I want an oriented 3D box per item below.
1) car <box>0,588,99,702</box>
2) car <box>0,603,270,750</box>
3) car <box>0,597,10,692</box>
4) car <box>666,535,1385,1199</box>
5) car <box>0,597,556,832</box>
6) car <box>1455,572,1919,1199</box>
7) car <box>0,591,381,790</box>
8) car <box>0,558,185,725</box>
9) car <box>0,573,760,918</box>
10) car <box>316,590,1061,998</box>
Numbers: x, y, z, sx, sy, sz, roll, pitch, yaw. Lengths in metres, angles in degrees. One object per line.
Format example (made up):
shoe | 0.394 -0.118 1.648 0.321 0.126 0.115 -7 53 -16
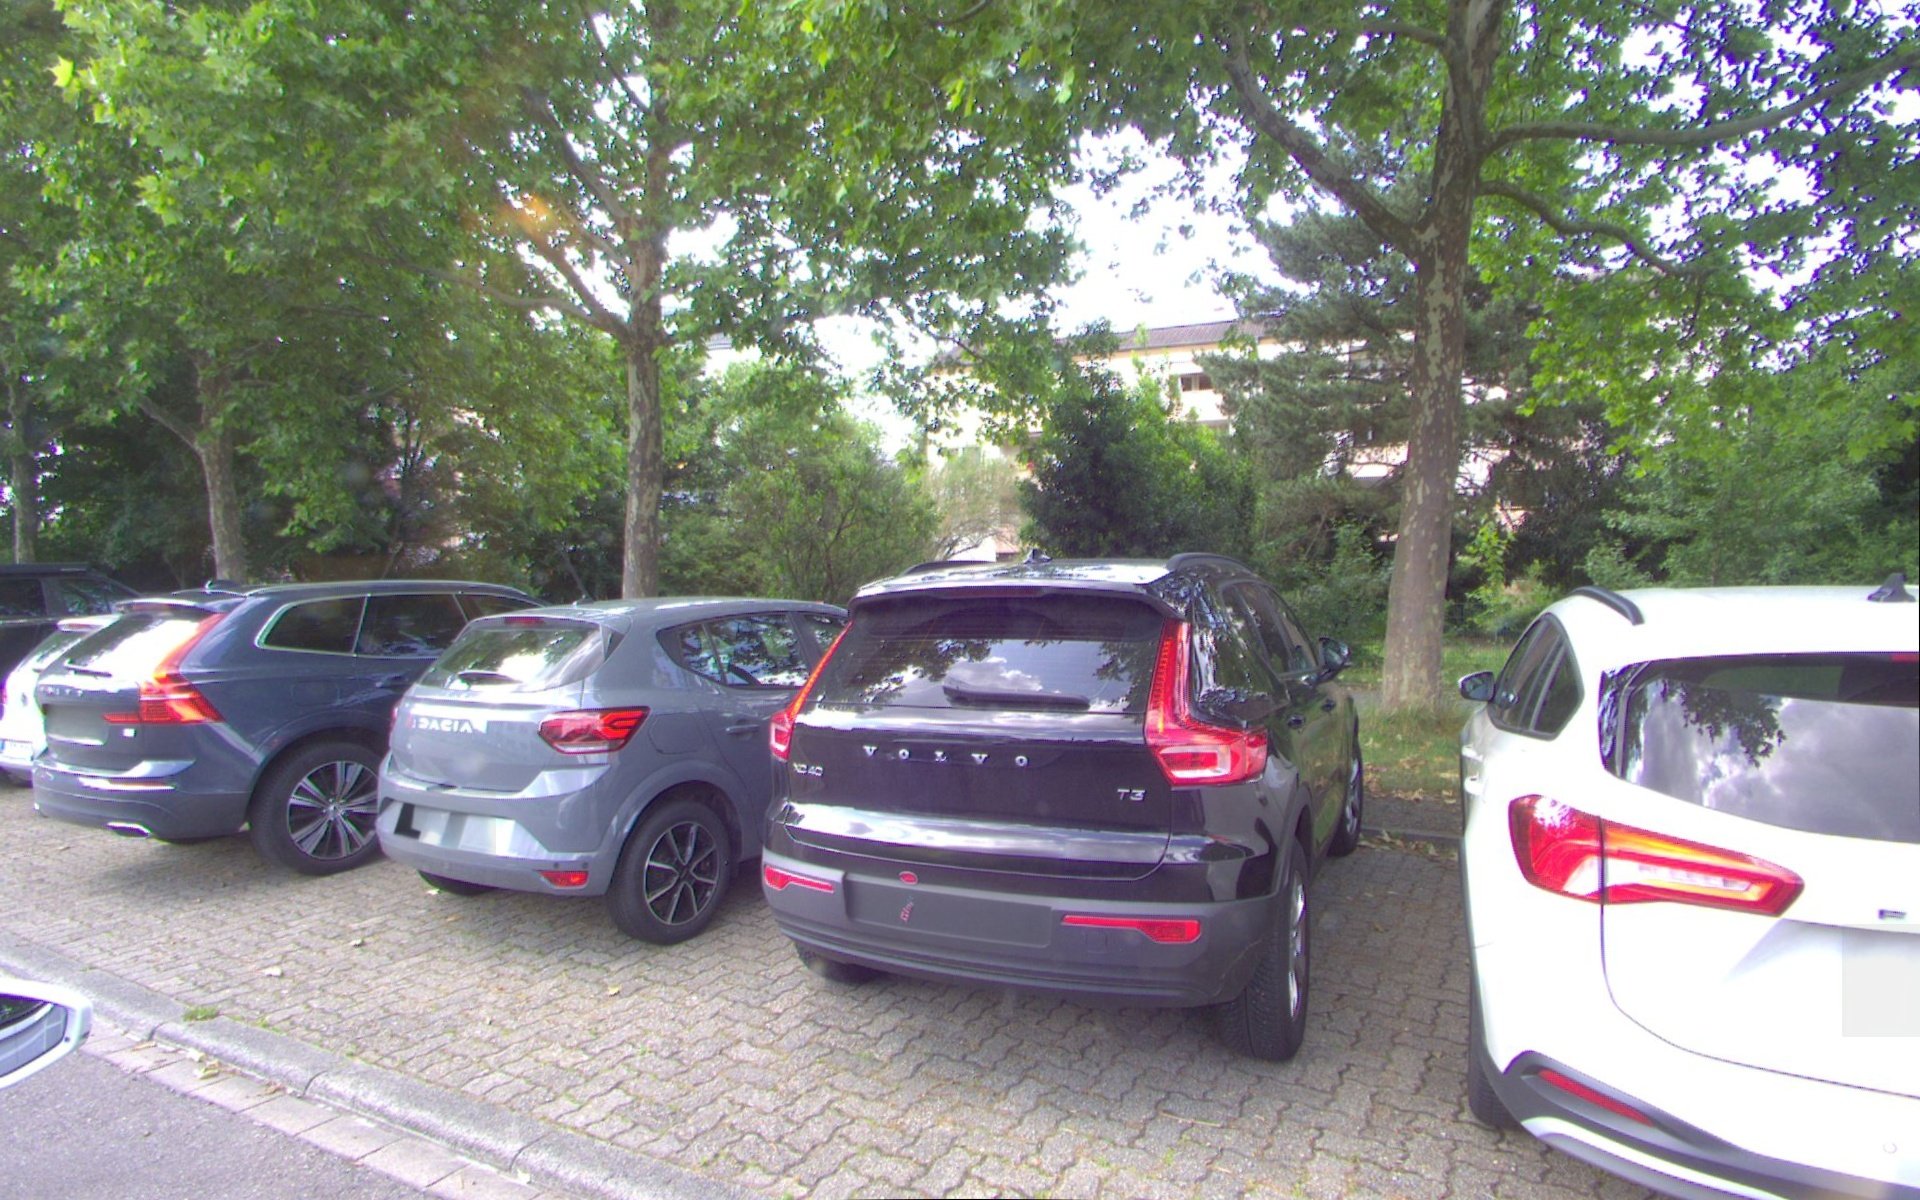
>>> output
car | -16.425 0.741 15.329 1.828 1.790 4.538 0 1 30
car | -10.604 0.838 11.567 1.730 1.514 3.959 -1 1 30
car | -18.792 0.833 16.229 1.826 1.683 4.543 0 1 26
car | 0.920 0.635 4.869 1.818 1.648 4.654 0 1 27
car | -5.828 0.768 8.845 1.730 1.514 3.959 0 1 30
car | 2.819 0.662 3.615 1.818 1.493 4.654 0 1 27
car | -8.229 0.744 10.068 1.725 1.627 3.969 0 1 20
car | -13.274 0.543 13.127 1.828 2.152 4.538 0 1 30
car | -3.600 0.670 7.123 1.731 1.661 4.371 0 1 32
car | -1.135 0.719 6.109 1.731 1.521 4.371 0 1 32
